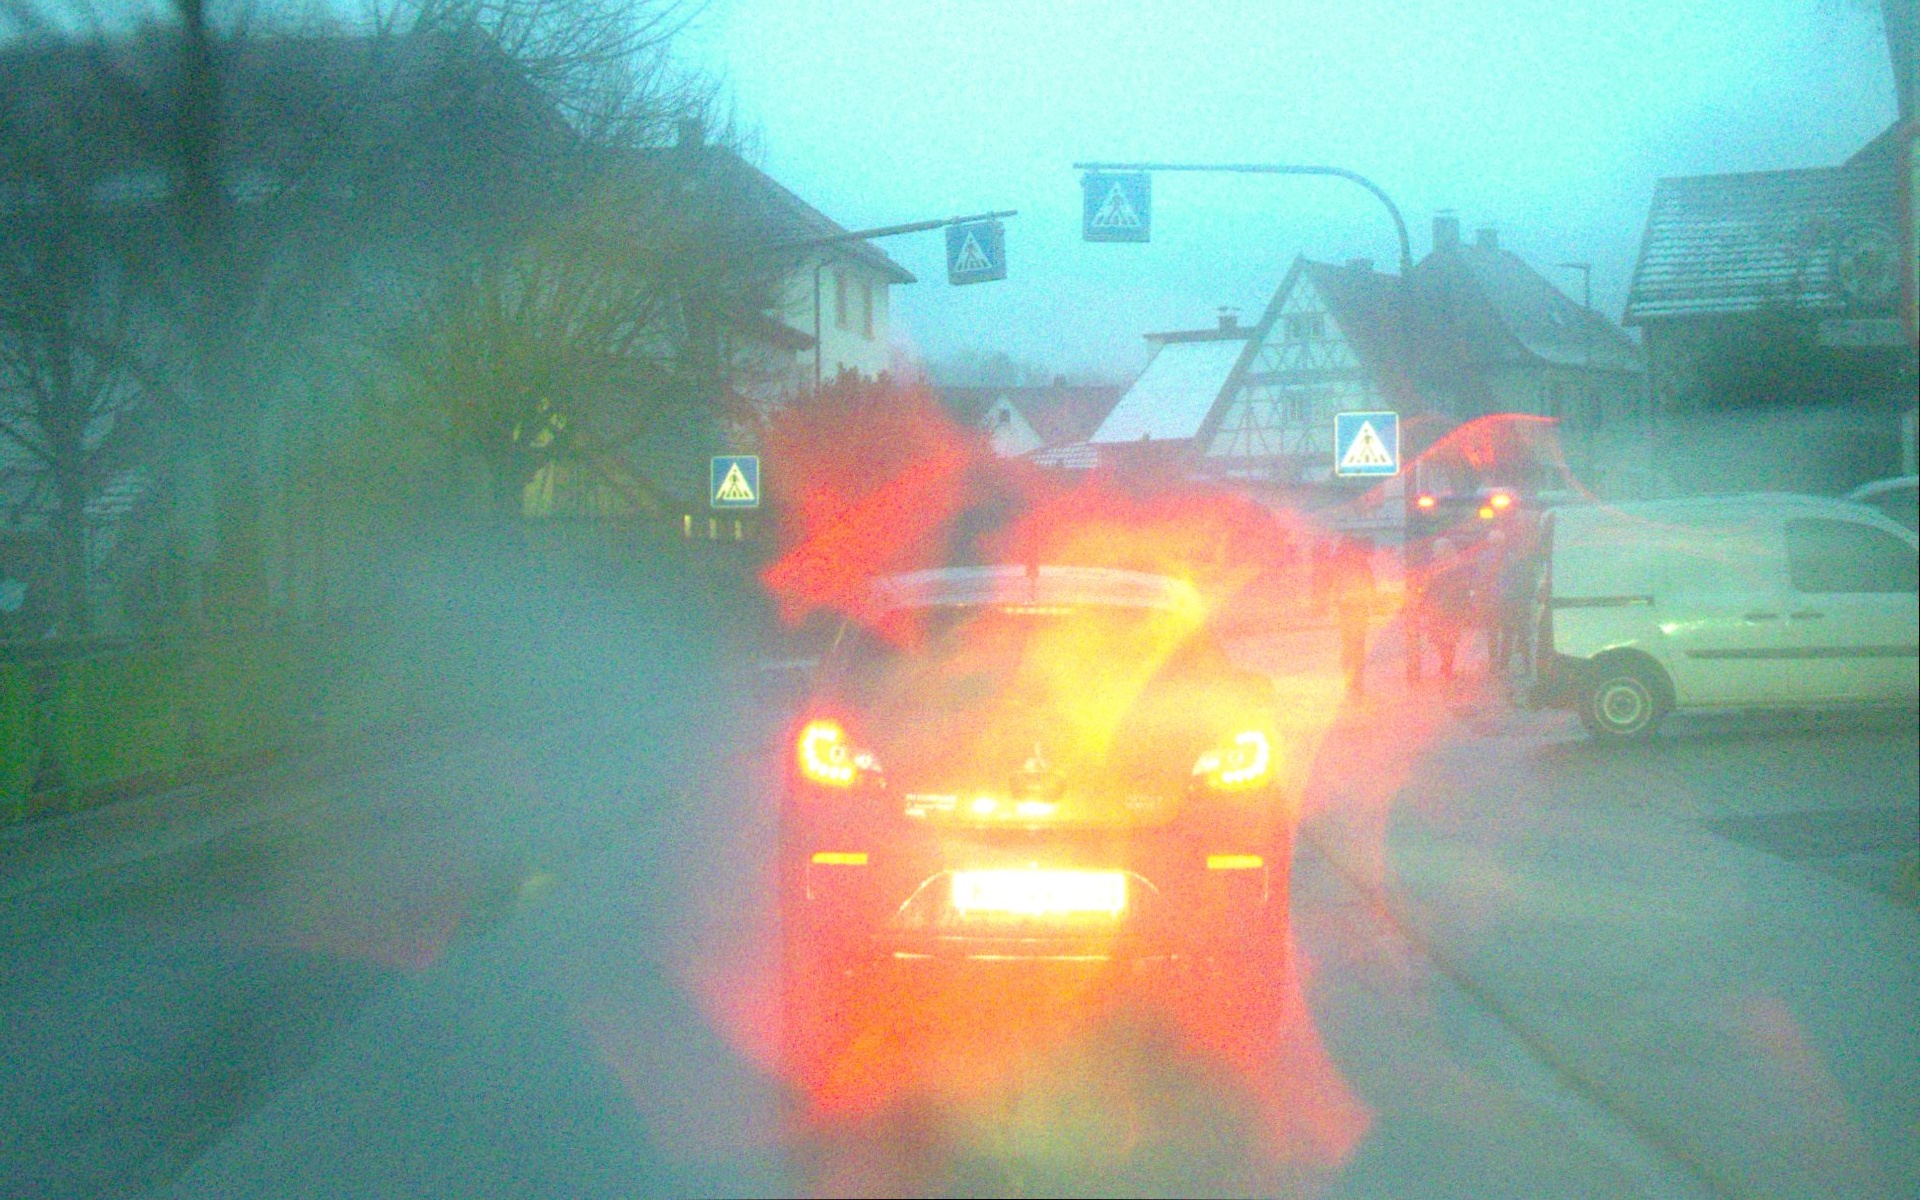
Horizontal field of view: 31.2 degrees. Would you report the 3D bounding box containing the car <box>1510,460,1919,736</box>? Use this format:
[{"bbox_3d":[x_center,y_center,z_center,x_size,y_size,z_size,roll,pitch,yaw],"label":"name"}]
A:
[{"bbox_3d":[6.195,-0.047,25.608,4.043,1.837,1.863,-3,0,9],"label":"car"}]

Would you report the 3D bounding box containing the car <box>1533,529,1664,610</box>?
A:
[{"bbox_3d":[13.204,-0.641,70.930,1.849,1.631,4.331,0,1,22],"label":"car"}]

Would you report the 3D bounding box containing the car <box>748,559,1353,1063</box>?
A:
[{"bbox_3d":[0.310,0.605,12.209,1.795,1.471,4.000,0,1,1],"label":"car"}]

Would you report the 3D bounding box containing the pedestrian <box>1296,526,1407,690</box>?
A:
[{"bbox_3d":[4.322,0.078,37.931,0.880,1.729,0.954,-4,0,22],"label":"pedestrian"}]

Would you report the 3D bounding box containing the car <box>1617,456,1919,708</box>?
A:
[{"bbox_3d":[7.974,-0.230,27.961,4.984,1.882,1.936,-3,1,14],"label":"car"}]

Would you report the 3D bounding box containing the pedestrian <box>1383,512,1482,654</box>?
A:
[{"bbox_3d":[5.768,-0.214,41.977,0.868,1.661,0.991,-4,0,22],"label":"pedestrian"}]

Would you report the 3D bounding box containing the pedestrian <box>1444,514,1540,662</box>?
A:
[{"bbox_3d":[6.480,-0.150,41.851,0.849,1.727,0.970,-4,0,22],"label":"pedestrian"}]

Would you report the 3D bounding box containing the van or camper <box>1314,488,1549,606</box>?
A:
[{"bbox_3d":[13.556,-1.503,98.881,6.070,2.945,2.402,-4,-1,29],"label":"van or camper"}]
